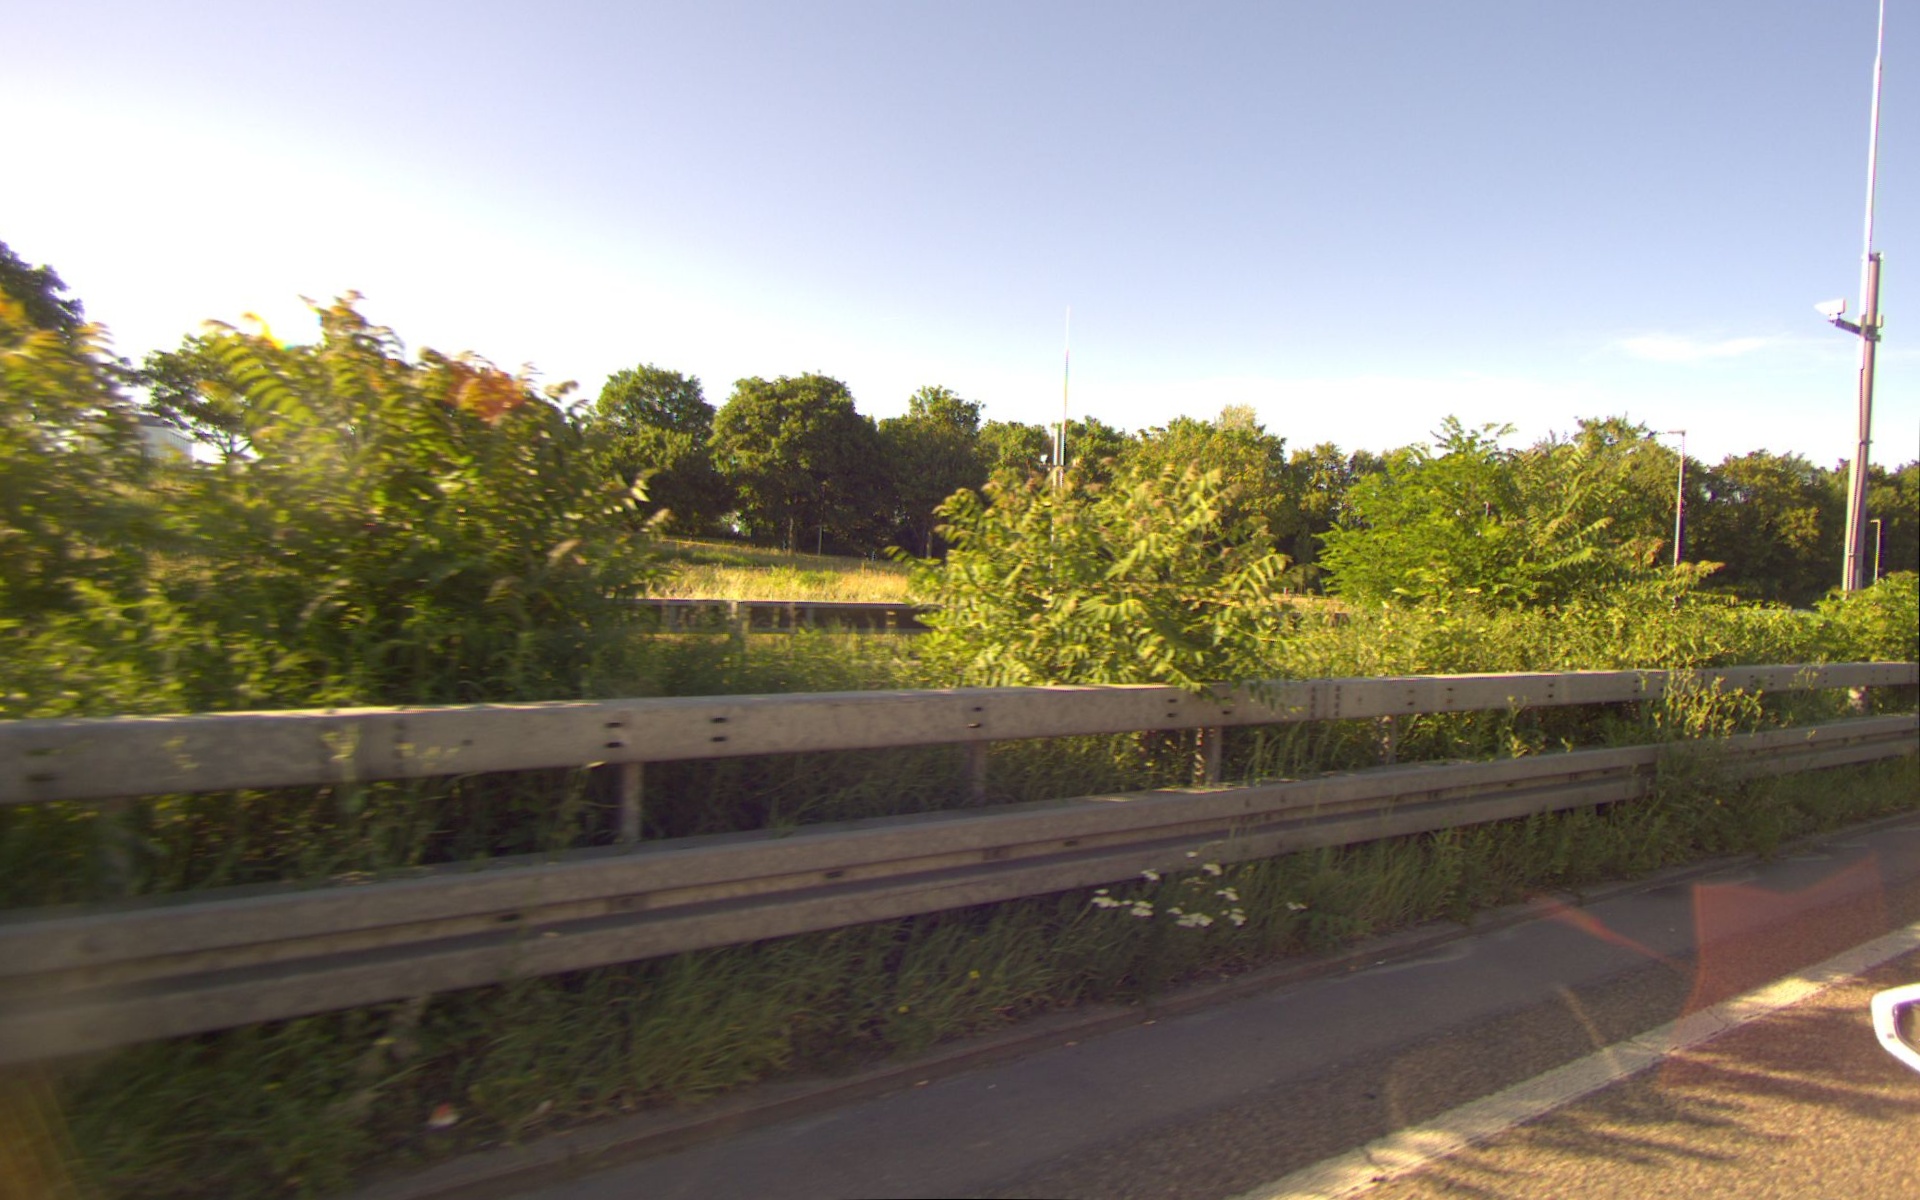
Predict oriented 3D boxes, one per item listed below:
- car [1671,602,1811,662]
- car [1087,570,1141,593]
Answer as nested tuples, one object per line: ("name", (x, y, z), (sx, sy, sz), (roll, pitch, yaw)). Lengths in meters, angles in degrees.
("car", (22.391, 0.902, 28.774), (3.953, 1.582, 1.832), (1, 0, -30))
("car", (14.443, -1.713, 94.107), (4.838, 2.041, 2.001), (2, 1, 10))
